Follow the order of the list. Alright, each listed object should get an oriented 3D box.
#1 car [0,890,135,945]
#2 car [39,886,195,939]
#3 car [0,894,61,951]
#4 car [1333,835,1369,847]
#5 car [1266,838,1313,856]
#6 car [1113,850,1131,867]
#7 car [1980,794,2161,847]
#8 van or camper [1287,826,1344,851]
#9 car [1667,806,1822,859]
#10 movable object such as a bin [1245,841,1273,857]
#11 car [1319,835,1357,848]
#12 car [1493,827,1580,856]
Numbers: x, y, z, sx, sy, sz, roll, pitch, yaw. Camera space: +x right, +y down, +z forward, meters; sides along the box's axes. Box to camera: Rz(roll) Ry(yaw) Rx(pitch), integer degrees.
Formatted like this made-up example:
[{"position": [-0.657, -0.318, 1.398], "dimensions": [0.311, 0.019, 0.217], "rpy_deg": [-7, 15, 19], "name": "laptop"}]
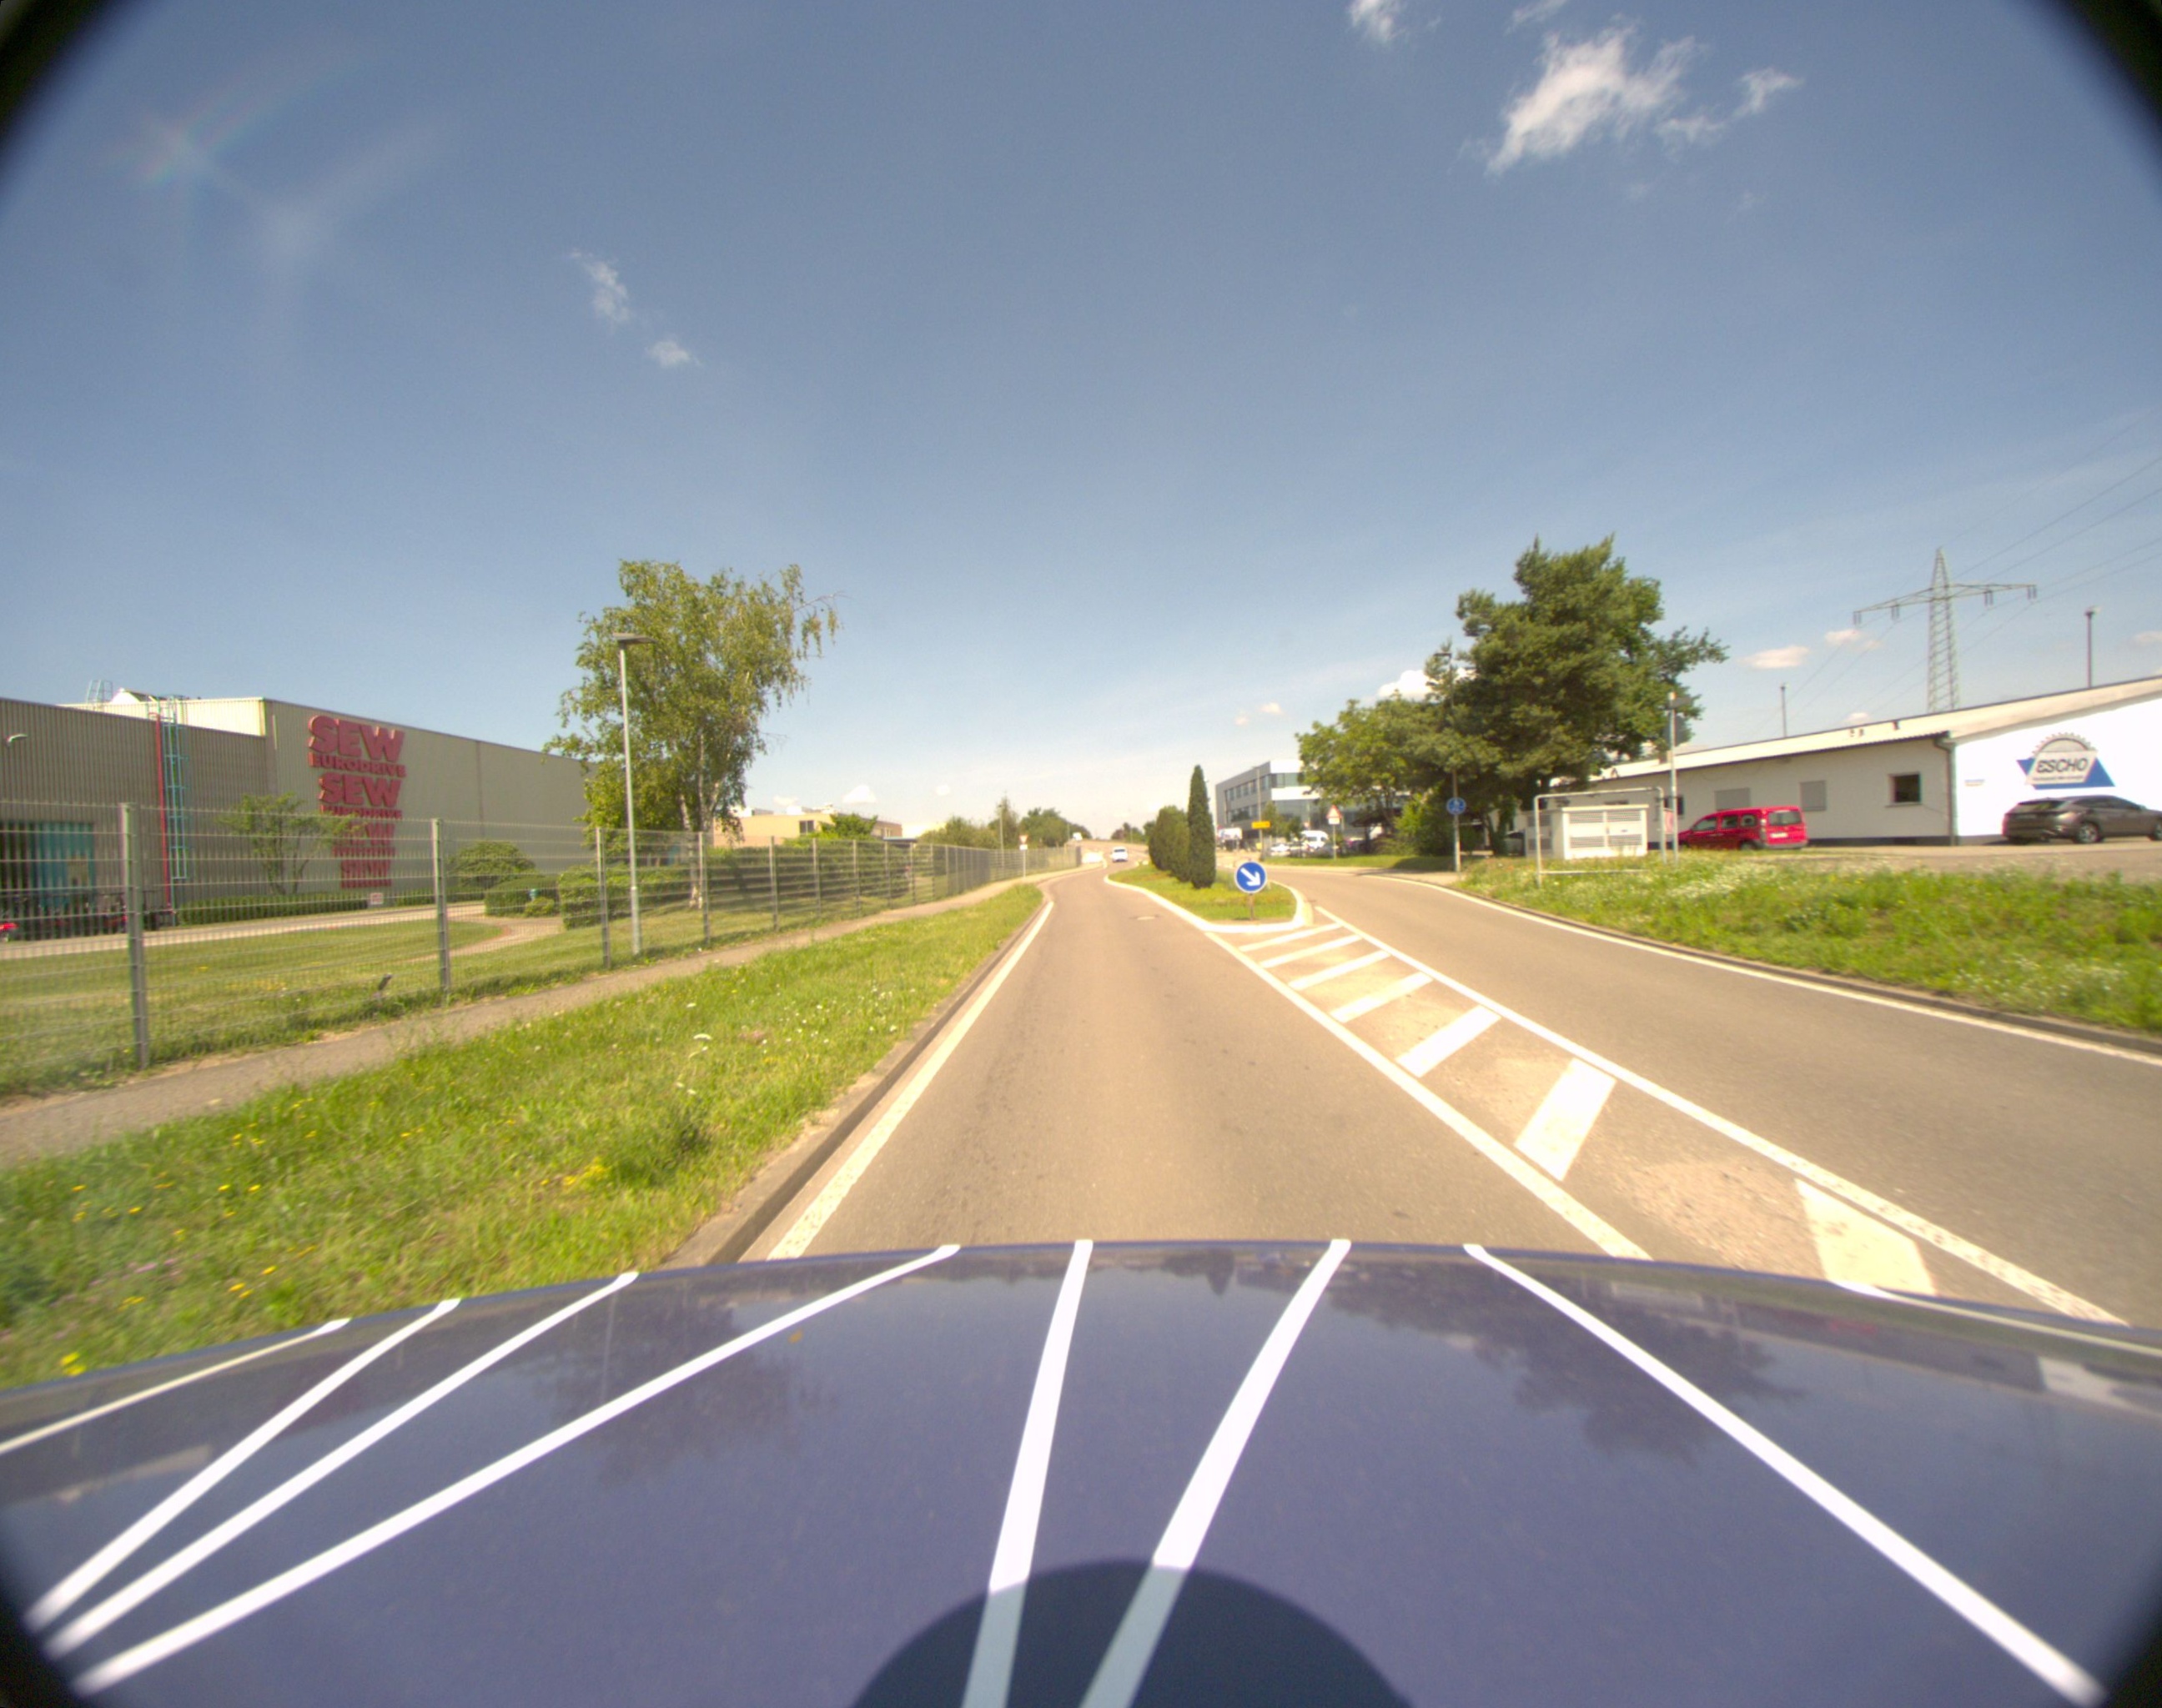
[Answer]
[{"position": [-42.614, 2.623, 31.456], "dimensions": [4.170, 2.002, 1.971], "rpy_deg": [-3, 1, -2], "name": "car"}, {"position": [-42.686, 2.555, 33.741], "dimensions": [4.170, 2.002, 1.971], "rpy_deg": [-3, 1, -2], "name": "car"}, {"position": [-42.435, 2.689, 28.971], "dimensions": [4.170, 2.002, 1.971], "rpy_deg": [-3, 1, -2], "name": "car"}, {"position": [32.805, -1.609, 92.389], "dimensions": [3.733, 1.313, 1.904], "rpy_deg": [-2, 1, 33], "name": "car"}, {"position": [19.631, -0.712, 71.689], "dimensions": [3.995, 1.510, 2.001], "rpy_deg": [-2, 1, 6], "name": "car"}, {"position": [5.137, 0.515, 95.039], "dimensions": [1.998, 1.904, 4.000], "rpy_deg": [-2, 1, 1], "name": "car"}, {"position": [33.693, -1.126, 25.923], "dimensions": [3.999, 1.516, 1.935], "rpy_deg": [-3, 0, -5], "name": "car"}, {"position": [25.494, -1.669, 82.683], "dimensions": [5.575, 2.483, 2.082], "rpy_deg": [-2, 1, 27], "name": "van or camper"}, {"position": [24.673, -0.766, 28.477], "dimensions": [1.999, 1.734, 4.228], "rpy_deg": [-3, 1, -2], "name": "car"}, {"position": [27.573, -0.816, 118.020], "dimensions": [2.172, 2.396, 5.455], "rpy_deg": [-3, 1, -10], "name": "movable object such as a bin"}, {"position": [30.820, -1.505, 91.112], "dimensions": [3.989, 1.313, 2.003], "rpy_deg": [-2, 1, 33], "name": "car"}, {"position": [25.225, -0.660, 42.305], "dimensions": [1.999, 1.400, 4.515], "rpy_deg": [-3, 0, -1], "name": "car"}]
